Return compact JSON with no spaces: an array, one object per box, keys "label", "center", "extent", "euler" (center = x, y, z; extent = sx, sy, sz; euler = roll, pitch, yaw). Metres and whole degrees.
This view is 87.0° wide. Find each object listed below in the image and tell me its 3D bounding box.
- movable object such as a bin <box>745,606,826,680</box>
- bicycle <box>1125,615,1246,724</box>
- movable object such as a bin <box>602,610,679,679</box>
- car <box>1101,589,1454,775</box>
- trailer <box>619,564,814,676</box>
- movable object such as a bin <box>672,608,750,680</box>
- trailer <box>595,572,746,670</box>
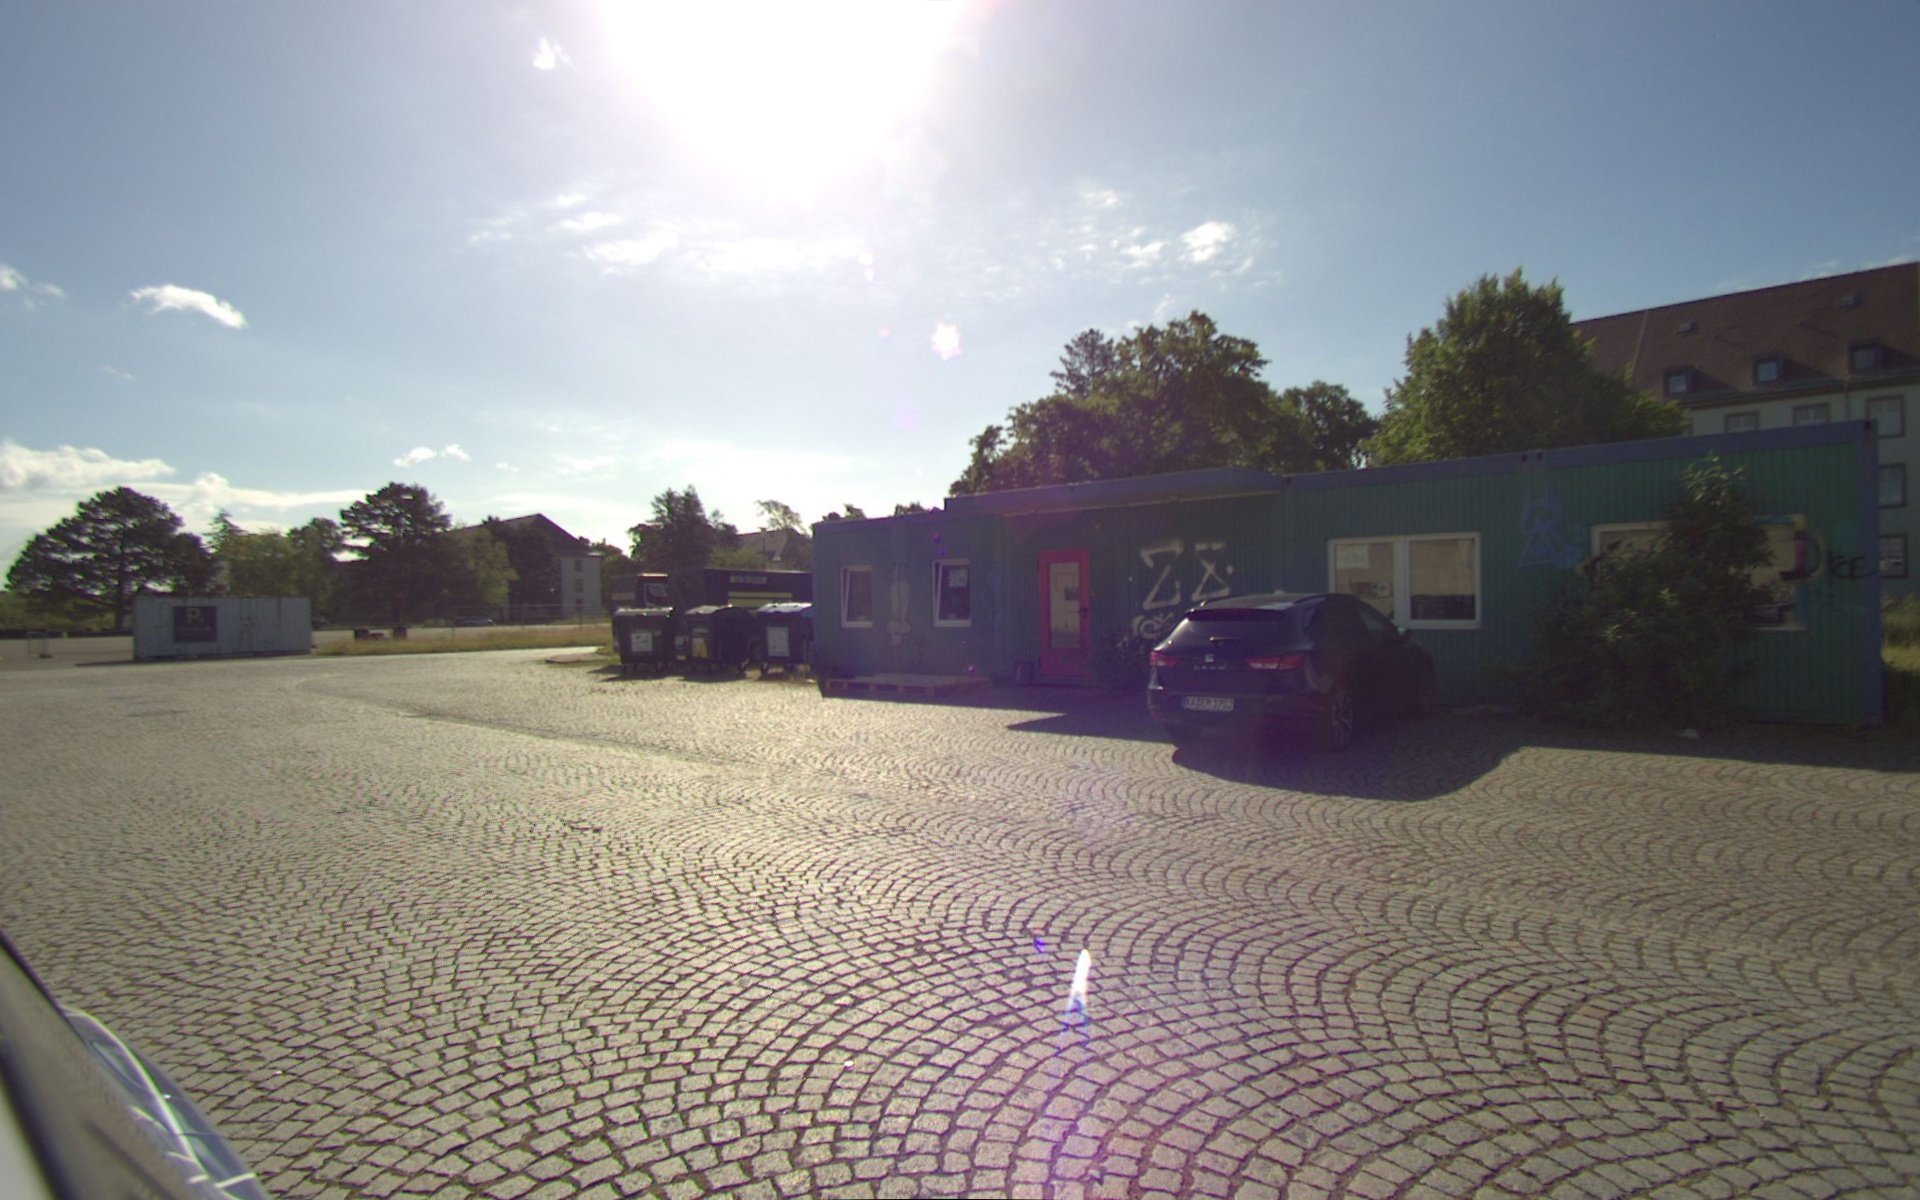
[{"label":"movable object such as a bin","center":[-3.671,0.889,21.275],"extent":[1.436,1.469,0.875],"euler":[-1,0,33]},{"label":"bicycle","center":[2.791,0.807,12.417],"extent":[0.668,1.179,1.785],"euler":[-1,0,41]},{"label":"movable object such as a bin","center":[-7.246,0.995,23.006],"extent":[1.417,1.469,1.157],"euler":[-1,0,-3]},{"label":"car","center":[3.446,0.664,10.458],"extent":[1.931,1.460,4.207],"euler":[-1,1,41]},{"label":"trailer","center":[-6.119,0.432,25.903],"extent":[1.950,2.587,4.590],"euler":[-1,0,39]},{"label":"movable object such as a bin","center":[-5.390,0.936,21.898],"extent":[1.441,1.469,1.007],"euler":[-1,0,43]},{"label":"trailer","center":[-7.866,0.509,27.621],"extent":[2.045,2.488,3.347],"euler":[-1,0,44]}]
